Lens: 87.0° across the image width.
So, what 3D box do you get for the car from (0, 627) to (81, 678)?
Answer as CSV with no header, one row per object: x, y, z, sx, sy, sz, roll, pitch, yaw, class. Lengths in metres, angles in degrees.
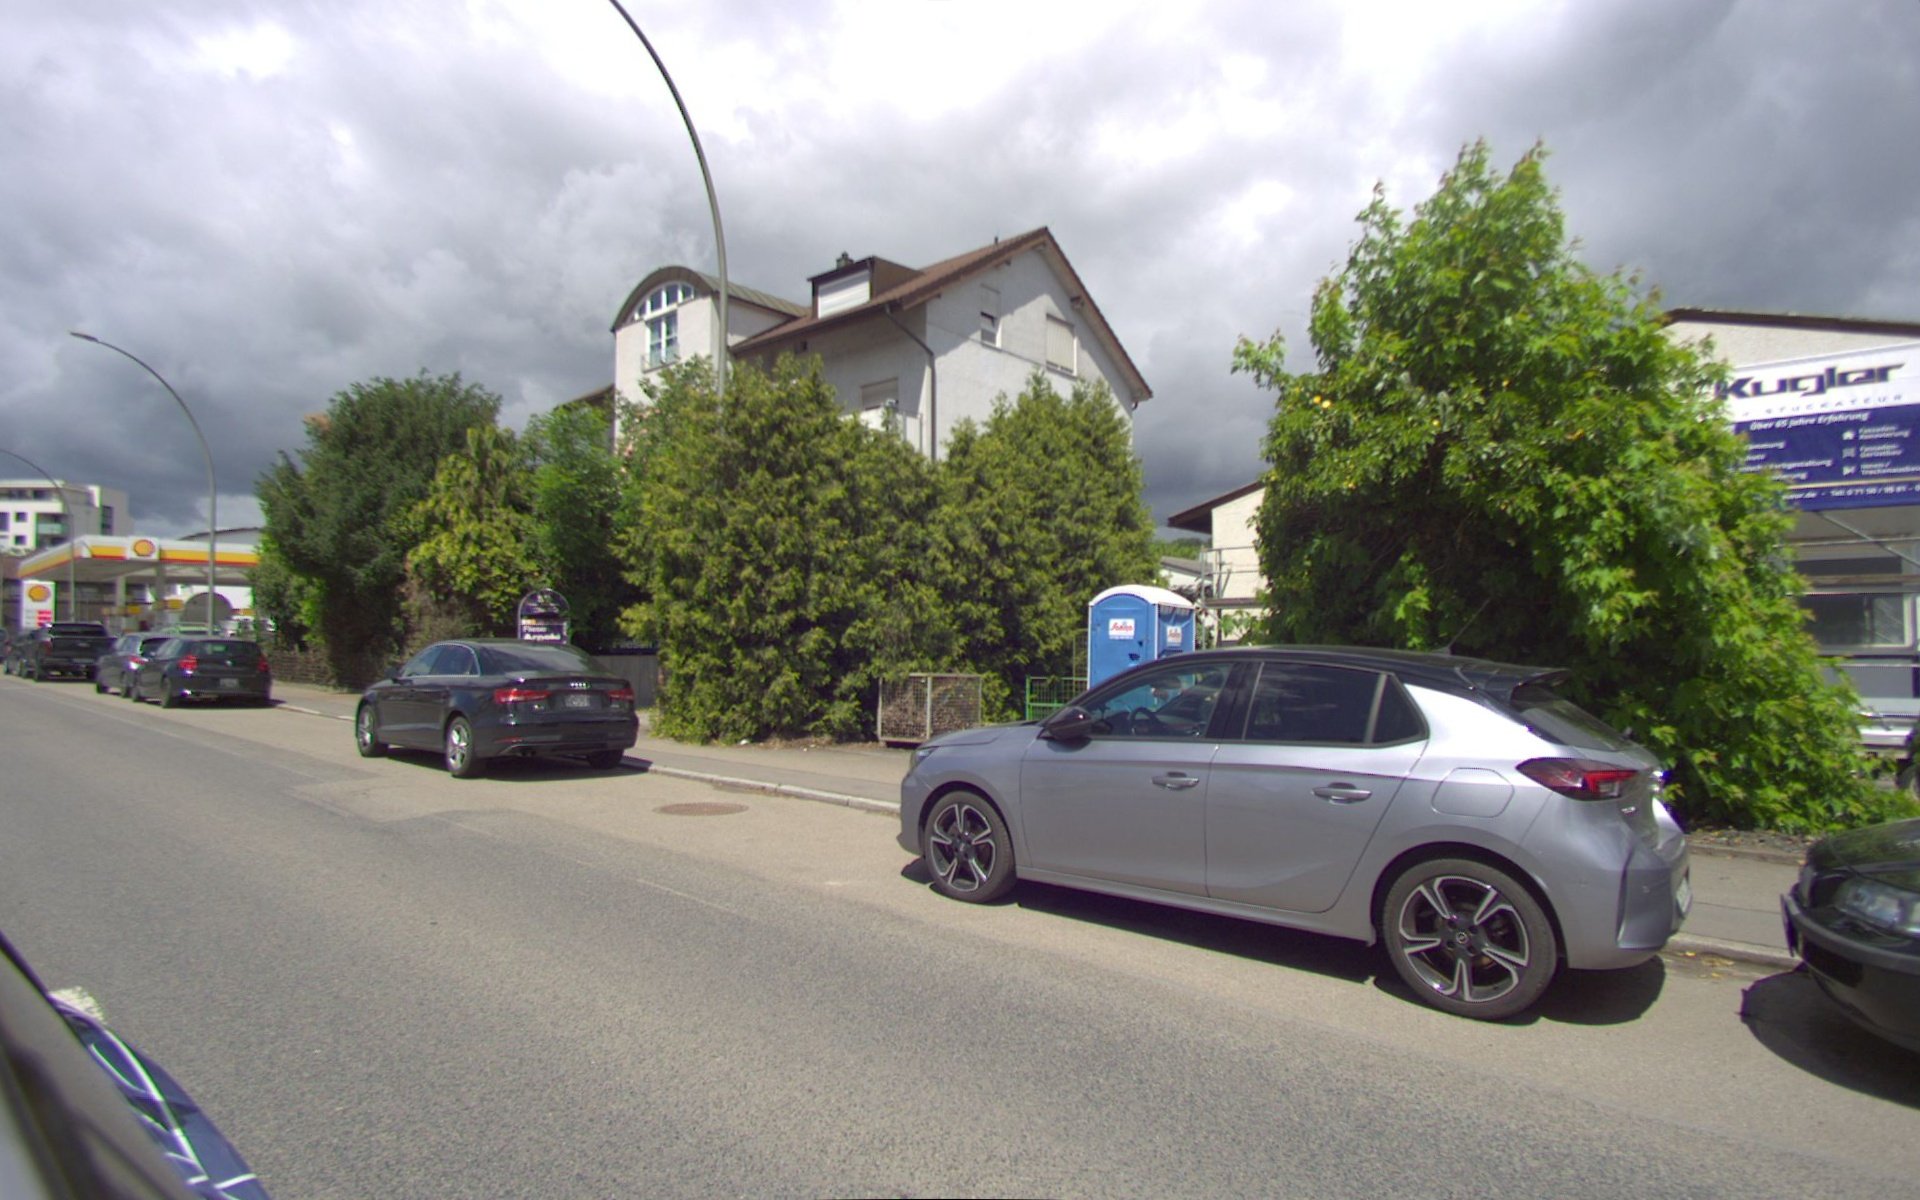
-32.184,1.824,35.299,4.524,1.693,1.645,-2,-5,41,car

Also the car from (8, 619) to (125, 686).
-27.620,1.625,31.206,5.426,1.835,1.891,-2,-6,41,car

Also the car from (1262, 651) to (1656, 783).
5.995,1.401,12.420,3.936,1.398,1.896,2,-4,-9,car

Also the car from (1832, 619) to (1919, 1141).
5.050,0.787,2.164,4.731,1.504,1.702,-2,-4,40,car

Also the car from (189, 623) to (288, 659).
-39.696,2.248,55.877,1.947,1.866,4.983,0,-2,-1,car

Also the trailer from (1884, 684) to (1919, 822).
10.111,1.330,8.190,3.812,1.135,1.542,-2,-3,41,trailer

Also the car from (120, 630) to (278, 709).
-15.541,1.392,20.593,4.336,1.446,1.645,-2,-5,41,car

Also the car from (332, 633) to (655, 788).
-5.372,1.118,11.400,4.336,1.425,1.645,-2,-4,41,car

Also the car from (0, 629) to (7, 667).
-47.583,2.270,48.900,4.188,1.751,1.711,-2,-6,41,car

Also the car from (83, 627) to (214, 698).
-19.125,1.458,23.811,3.942,1.523,1.645,-2,-6,41,car

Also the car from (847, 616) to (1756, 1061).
1.486,0.877,5.329,4.195,1.443,1.702,-2,-4,40,car

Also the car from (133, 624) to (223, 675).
-28.912,1.800,37.386,4.335,1.799,1.774,-2,-2,40,car

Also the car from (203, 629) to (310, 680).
-27.371,2.077,39.374,4.322,1.799,1.779,-1,1,31,car
